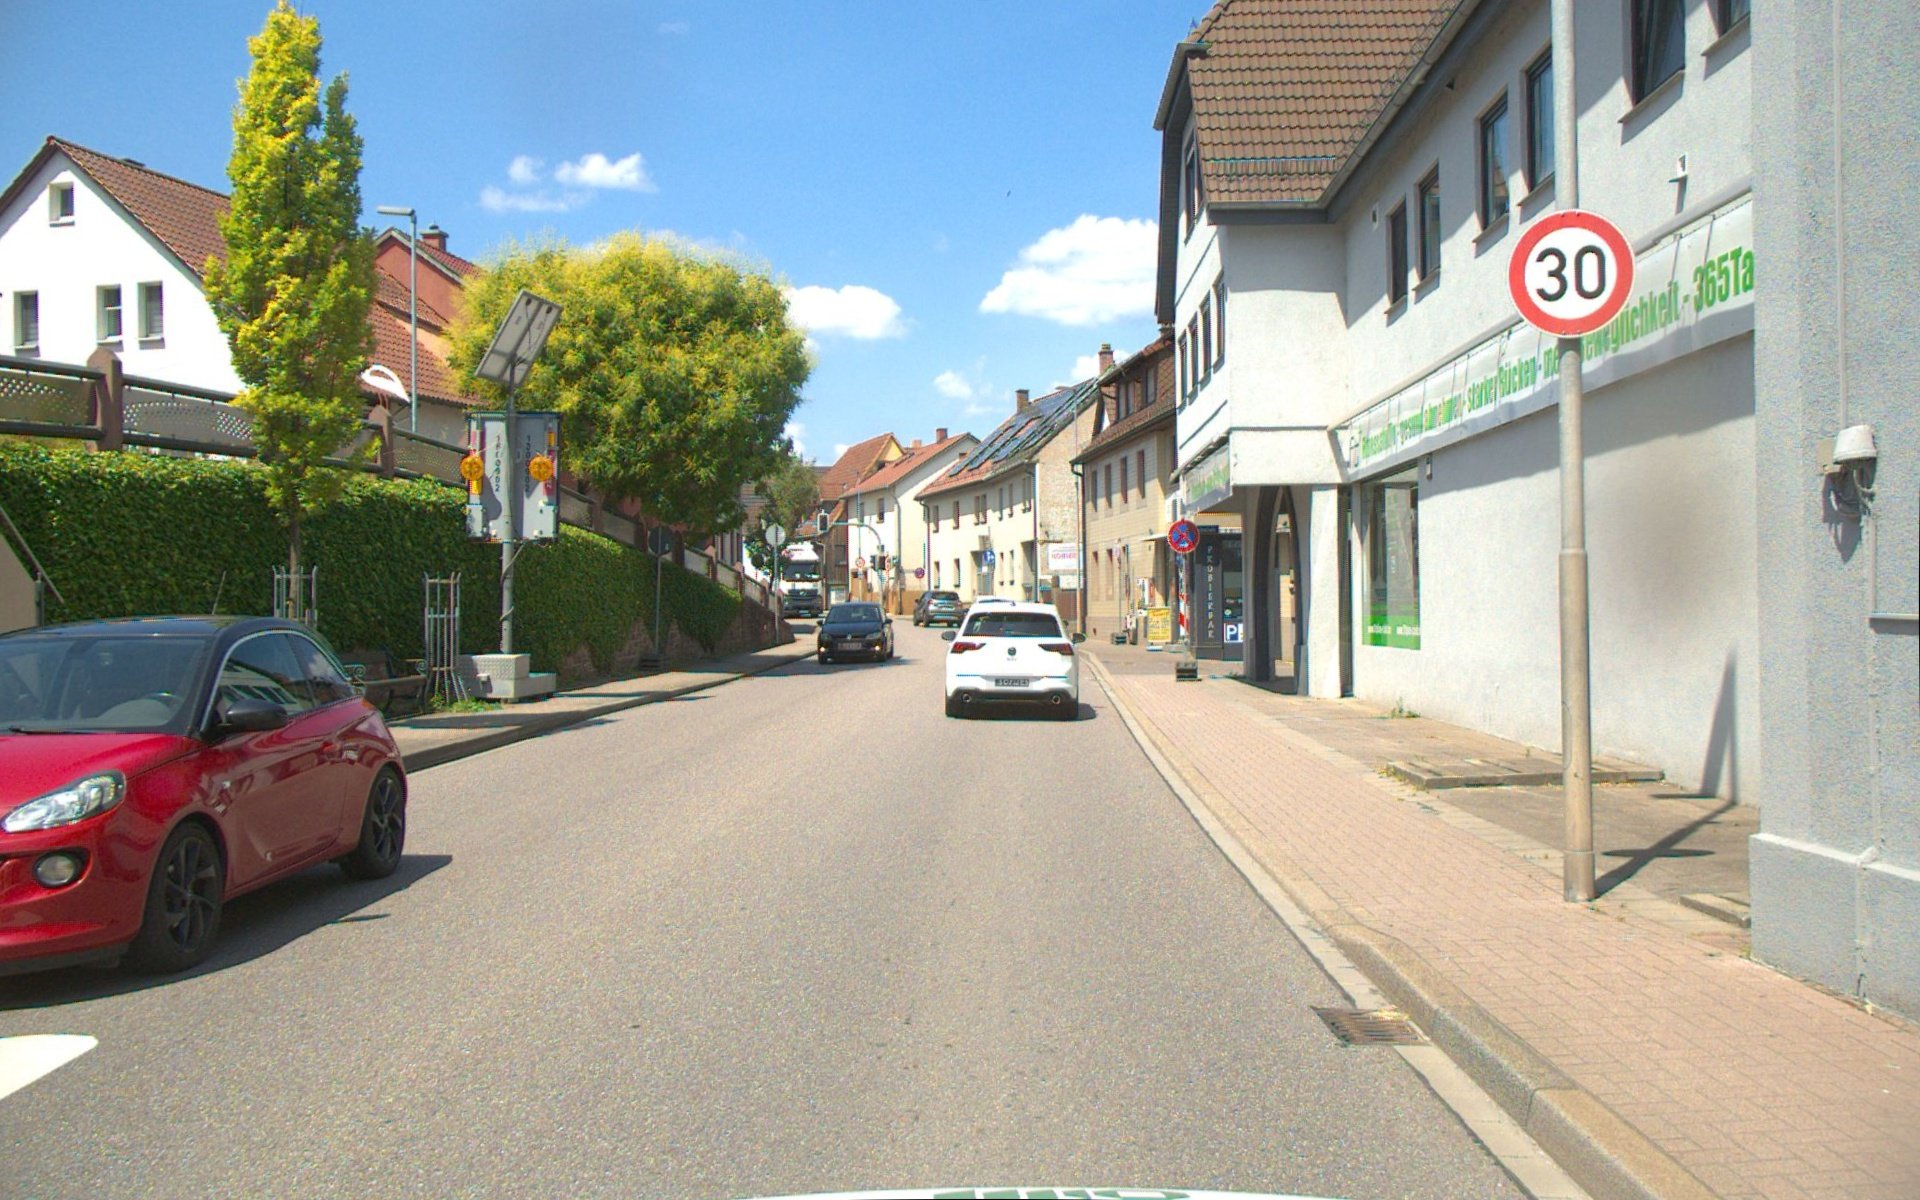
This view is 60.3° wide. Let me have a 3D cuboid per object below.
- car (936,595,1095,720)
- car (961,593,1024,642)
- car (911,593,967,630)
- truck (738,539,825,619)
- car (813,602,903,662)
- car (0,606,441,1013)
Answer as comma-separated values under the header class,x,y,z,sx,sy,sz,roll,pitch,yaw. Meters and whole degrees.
class,x,y,z,sx,sy,sz,roll,pitch,yaw
car,0.657,0.726,22.346,1.772,1.493,3.997,1,-1,-3
car,1.017,0.577,53.985,1.771,1.493,3.998,1,-1,-3
car,-0.946,0.481,71.835,1.744,1.565,3.988,0,0,-12
truck,-9.742,-1.066,89.465,2.607,4.099,9.136,0,0,-20
car,-2.443,0.742,40.505,1.756,1.401,4.118,0,0,3
car,-3.928,0.795,7.962,1.584,1.469,3.801,-2,0,1
